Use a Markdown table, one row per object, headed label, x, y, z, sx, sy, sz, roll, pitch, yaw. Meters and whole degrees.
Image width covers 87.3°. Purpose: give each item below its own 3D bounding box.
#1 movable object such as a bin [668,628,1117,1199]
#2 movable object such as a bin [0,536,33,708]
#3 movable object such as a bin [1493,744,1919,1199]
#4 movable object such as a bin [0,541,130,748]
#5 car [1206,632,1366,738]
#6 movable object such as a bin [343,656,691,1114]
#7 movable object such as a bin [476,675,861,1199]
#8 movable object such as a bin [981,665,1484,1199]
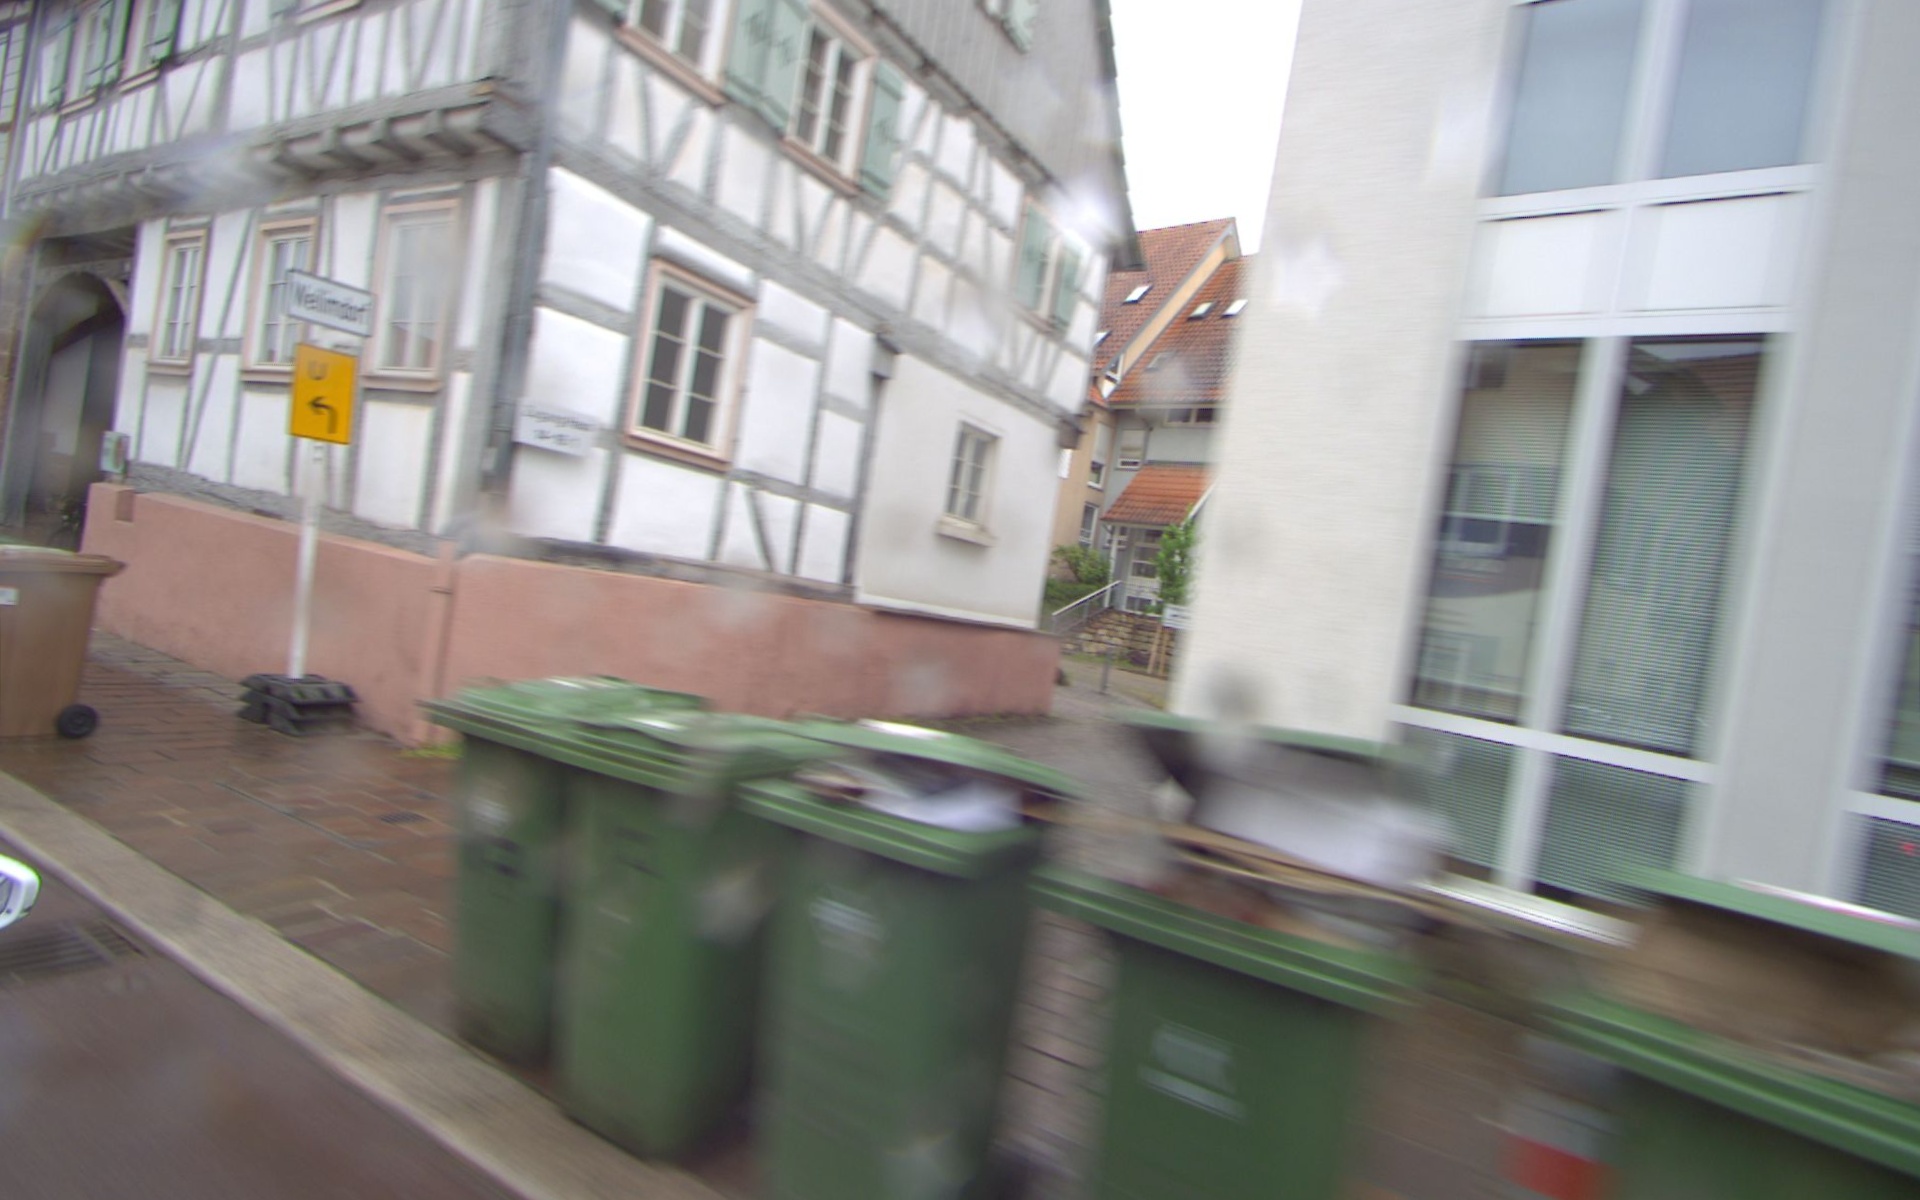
| label | x | y | z | sx | sy | sz | roll | pitch | yaw |
| --- | --- | --- | --- | --- | --- | --- | --- | --- | --- |
| movable object such as a bin | -0.140 | 0.774 | 2.338 | 0.622 | 1.305 | 0.638 | 7 | 0 | 36 |
| movable object such as a bin | -6.540 | 0.112 | 6.443 | 0.578 | 1.095 | 0.670 | 7 | 0 | 30 |
| movable object such as a bin | 1.203 | 0.927 | 1.528 | 0.622 | 1.305 | 0.638 | 7 | 0 | 36 |
| movable object such as a bin | -5.436 | 0.243 | 5.817 | 0.639 | 1.109 | 0.680 | 8 | -1 | 28 |
| car | 5.938 | 1.519 | 18.064 | 1.653 | 1.413 | 3.674 | 11 | 2 | 33 |
| movable object such as a bin | -1.353 | 0.799 | 3.110 | 0.622 | 1.145 | 0.617 | 7 | 0 | 32 |
| movable object such as a bin | -0.774 | 0.826 | 2.732 | 0.622 | 1.145 | 0.617 | 7 | 0 | 32 |
| movable object such as a bin | 0.513 | 0.829 | 1.907 | 0.622 | 1.305 | 0.638 | 7 | 0 | 36 |
